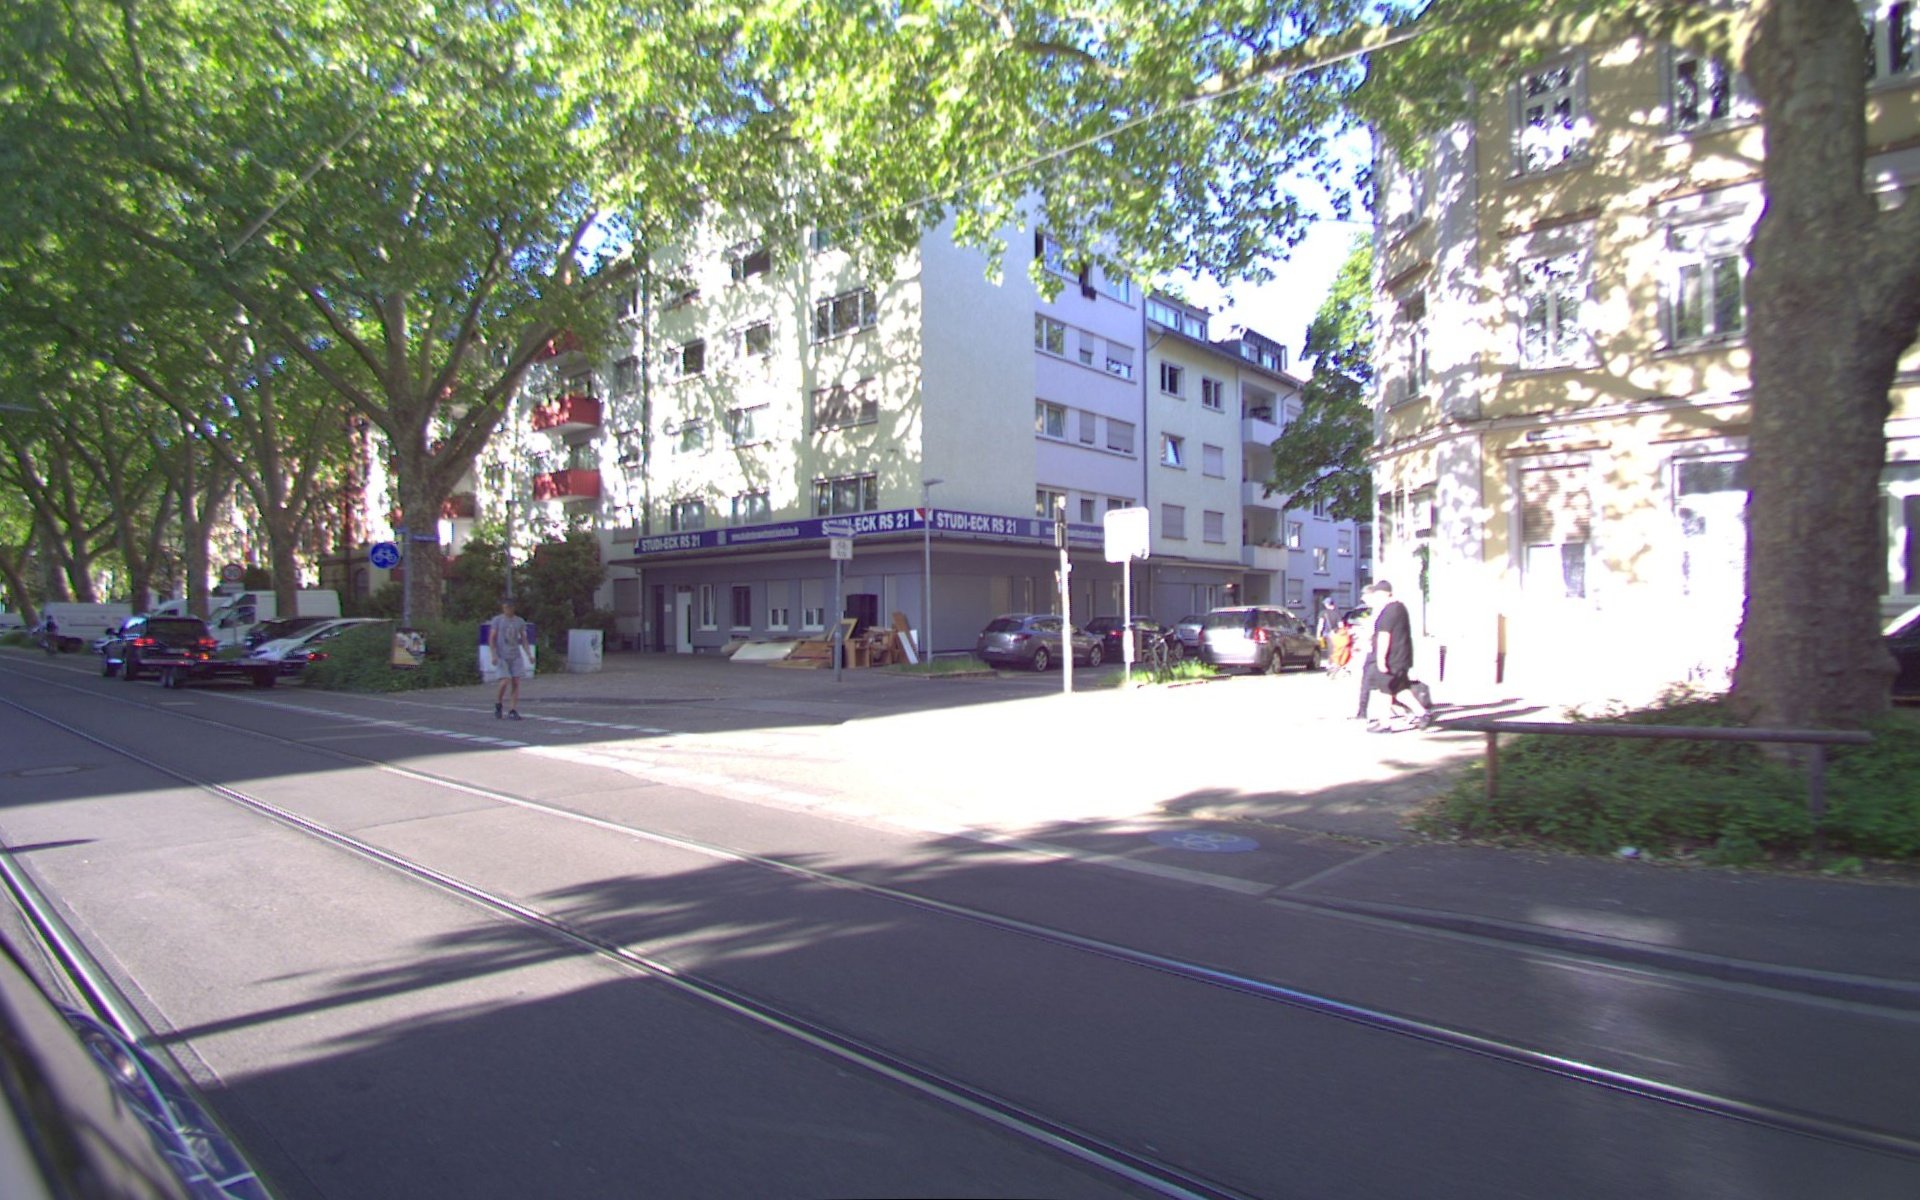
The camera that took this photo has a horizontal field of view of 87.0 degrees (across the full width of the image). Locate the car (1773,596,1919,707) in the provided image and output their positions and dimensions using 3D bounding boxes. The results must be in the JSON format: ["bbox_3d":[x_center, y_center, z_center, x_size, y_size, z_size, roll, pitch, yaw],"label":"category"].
[{"bbox_3d":[13.168,0.642,13.163,3.995,1.398,1.762,-1,-1,39],"label":"car"}]

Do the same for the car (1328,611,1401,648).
[{"bbox_3d":[19.130,1.347,47.776,1.999,1.619,4.100,-1,-1,40],"label":"car"}]

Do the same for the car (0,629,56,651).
[{"bbox_3d":[-68.986,2.919,74.051,1.998,1.478,3.948,-1,-1,39],"label":"car"}]

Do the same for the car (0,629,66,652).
[{"bbox_3d":[-66.383,2.870,71.970,1.998,1.478,3.948,-1,-1,39],"label":"car"}]

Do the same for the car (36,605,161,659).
[{"bbox_3d":[-43.640,1.581,51.343,1.999,2.552,4.601,-1,-1,41],"label":"car"}]

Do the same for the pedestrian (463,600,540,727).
[{"bbox_3d":[-6.734,0.907,14.876,0.798,1.805,0.693,-1,-1,28],"label":"pedestrian"}]

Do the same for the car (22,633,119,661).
[{"bbox_3d":[-51.243,2.678,58.349,1.998,1.478,3.948,-1,-1,39],"label":"car"}]

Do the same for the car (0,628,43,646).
[{"bbox_3d":[-79.484,3.098,84.588,1.998,1.478,3.948,-1,-1,39],"label":"car"}]

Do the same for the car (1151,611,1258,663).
[{"bbox_3d":[8.571,1.238,35.248,1.999,1.619,4.100,-1,-1,40],"label":"car"}]

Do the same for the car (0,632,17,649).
[{"bbox_3d":[-84.710,3.544,87.882,1.791,1.478,3.948,-1,-1,39],"label":"car"}]

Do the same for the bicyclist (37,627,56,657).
[{"bbox_3d":[-38.082,1.734,42.185,0.665,1.222,0.527,-1,-1,41],"label":"bicyclist"}]

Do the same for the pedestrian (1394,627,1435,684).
[{"bbox_3d":[8.583,1.050,19.124,0.540,1.048,0.542,-1,-1,8],"label":"pedestrian"}]

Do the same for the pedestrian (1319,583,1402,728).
[{"bbox_3d":[5.116,0.680,12.956,0.658,1.793,0.726,0,0,-17],"label":"pedestrian"}]

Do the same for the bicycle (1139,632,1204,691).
[{"bbox_3d":[4.221,1.198,20.111,0.654,1.070,1.847,-1,-1,33],"label":"bicycle"}]

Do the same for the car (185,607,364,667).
[{"bbox_3d":[-25.083,1.295,37.215,1.996,2.010,5.074,-1,-1,36],"label":"car"}]

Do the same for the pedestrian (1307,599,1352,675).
[{"bbox_3d":[8.642,0.853,23.676,0.796,1.721,0.775,-1,-1,34],"label":"pedestrian"}]

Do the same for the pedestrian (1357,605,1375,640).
[{"bbox_3d":[21.146,1.183,52.718,0.723,1.793,0.661,-1,0,38],"label":"pedestrian"}]

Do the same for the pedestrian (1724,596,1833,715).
[{"bbox_3d":[10.811,0.706,13.392,1.068,1.490,0.765,-1,-1,39],"label":"pedestrian"}]

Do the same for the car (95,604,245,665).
[{"bbox_3d":[-32.542,1.371,41.797,1.999,2.323,4.601,-1,-1,41],"label":"car"}]

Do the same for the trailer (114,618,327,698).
[{"bbox_3d":[-17.467,1.299,23.739,6.577,1.644,2.422,-1,-4,39],"label":"trailer"}]

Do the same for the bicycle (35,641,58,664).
[{"bbox_3d":[-38.060,2.179,42.167,1.556,0.913,0.527,-1,-1,42],"label":"bicycle"}]

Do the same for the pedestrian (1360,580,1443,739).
[{"bbox_3d":[5.125,0.663,11.740,0.734,1.770,0.731,-1,-1,36],"label":"pedestrian"}]

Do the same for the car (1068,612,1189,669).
[{"bbox_3d":[5.300,1.221,31.474,1.895,1.618,4.100,1,0,40],"label":"car"}]

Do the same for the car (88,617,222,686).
[{"bbox_3d":[-21.632,1.350,27.152,4.178,1.696,1.904,-1,-4,39],"label":"car"}]

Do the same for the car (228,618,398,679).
[{"bbox_3d":[-19.569,1.416,30.726,1.998,1.657,3.948,-1,-1,39],"label":"car"}]

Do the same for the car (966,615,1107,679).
[{"bbox_3d":[2.168,1.222,27.756,1.833,1.489,4.100,1,1,40],"label":"car"}]

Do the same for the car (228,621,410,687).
[{"bbox_3d":[-17.969,1.450,28.485,1.907,1.622,3.948,-1,-1,39],"label":"car"}]

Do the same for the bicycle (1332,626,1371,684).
[{"bbox_3d":[8.145,1.120,21.024,0.652,1.070,1.853,-5,-2,22],"label":"bicycle"}]

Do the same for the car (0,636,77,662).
[{"bbox_3d":[-59.209,3.085,64.651,1.998,1.478,3.948,-1,-1,39],"label":"car"}]

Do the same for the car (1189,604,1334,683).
[{"bbox_3d":[7.306,1.015,24.290,1.798,1.650,3.961,-6,-4,40],"label":"car"}]

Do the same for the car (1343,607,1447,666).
[{"bbox_3d":[13.764,1.086,31.883,1.892,1.684,4.100,-1,-1,40],"label":"car"}]

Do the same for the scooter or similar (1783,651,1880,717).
[{"bbox_3d":[10.948,1.043,12.740,0.896,0.759,0.523,-1,-1,39],"label":"scooter or similar"}]
